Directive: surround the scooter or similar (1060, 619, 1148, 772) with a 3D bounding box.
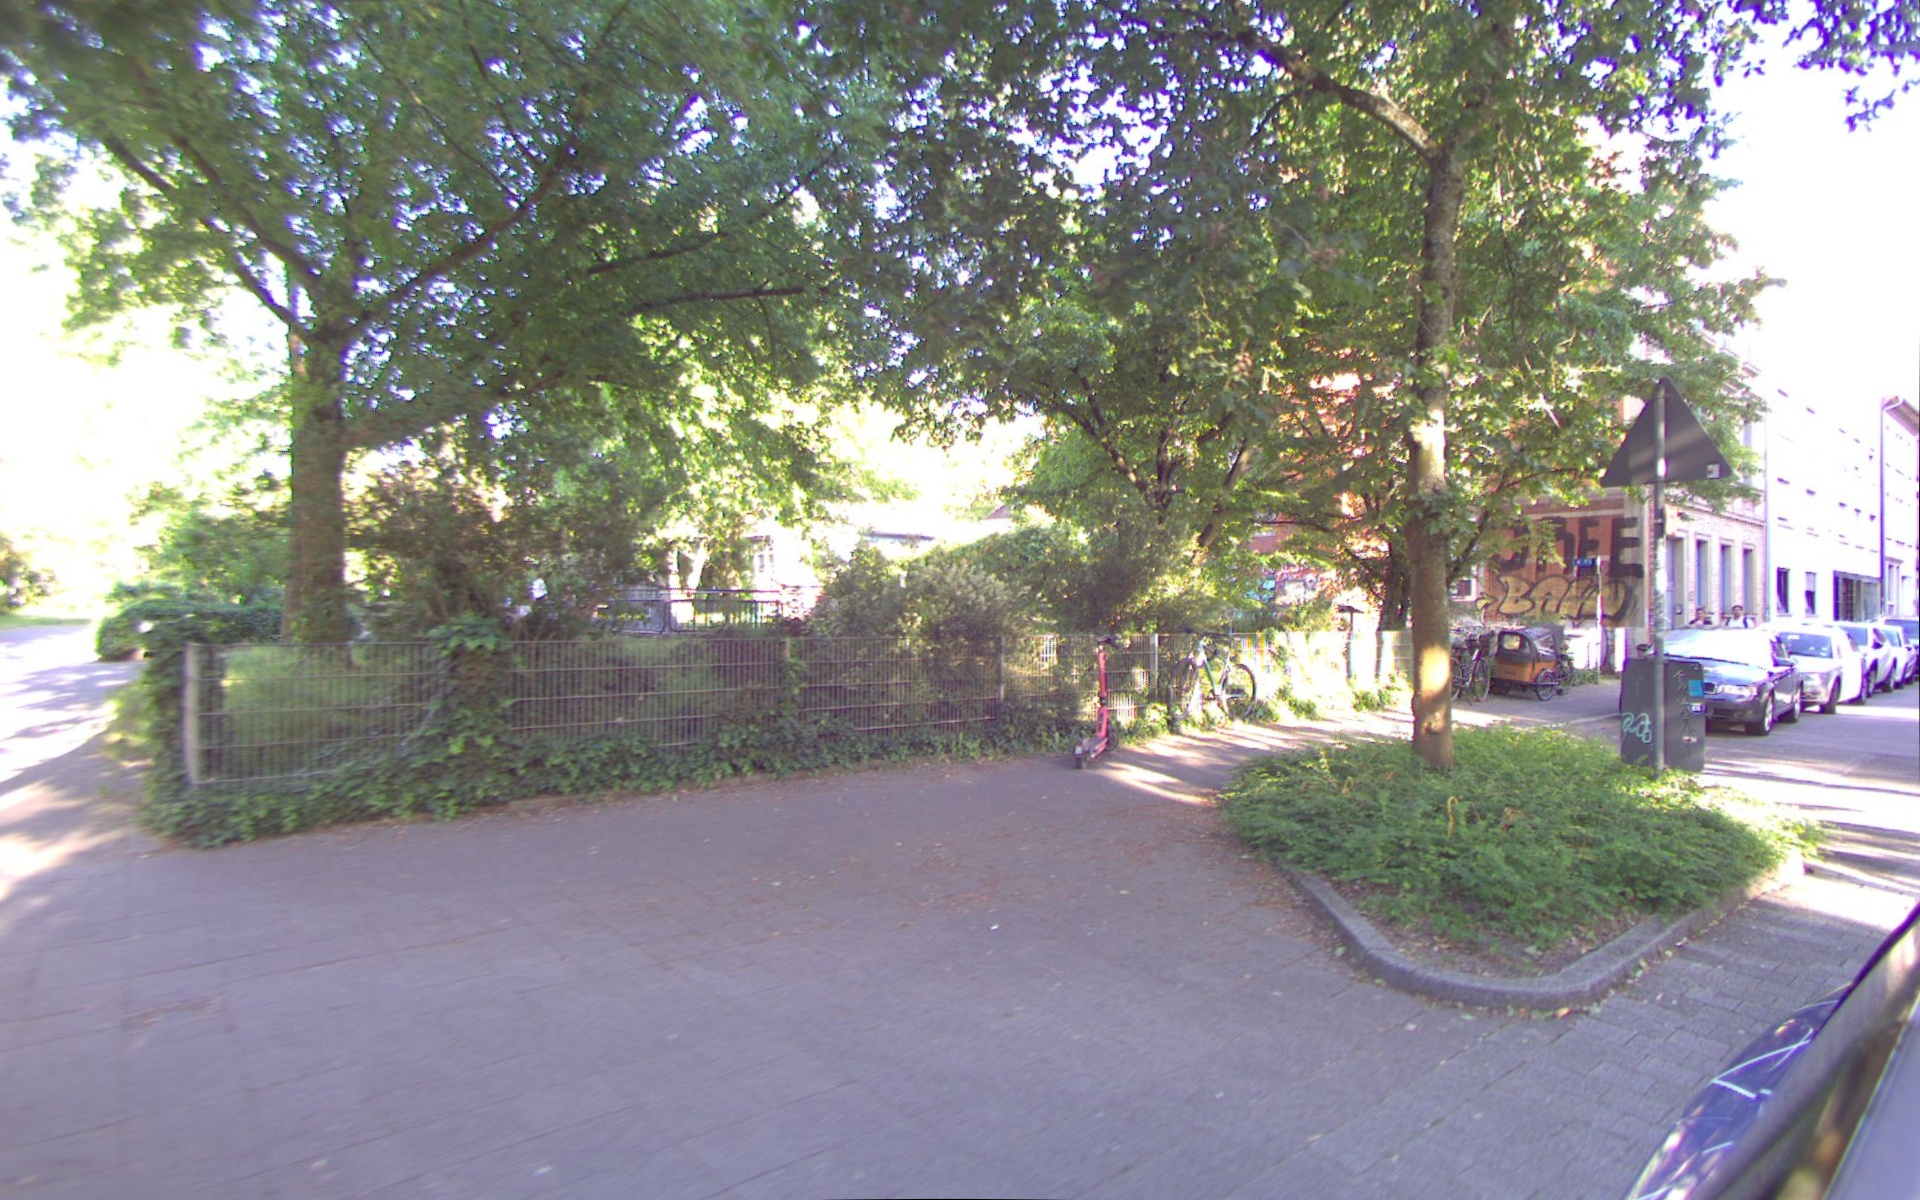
[{"bbox_3d":[1.394,0.846,9.607,0.539,1.277,1.464,1,1,19],"label":"scooter or similar"}]

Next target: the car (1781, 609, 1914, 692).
[{"bbox_3d":[19.185,1.023,21.823,3.697,1.605,1.597,1,1,-40],"label":"car"}]

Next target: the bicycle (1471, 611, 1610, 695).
[{"bbox_3d":[10.213,0.884,17.777,2.283,1.318,1.295,1,2,-37],"label":"bicycle"}]

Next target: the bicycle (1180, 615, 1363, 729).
[{"bbox_3d":[3.977,0.853,12.777,2.642,1.284,0.849,1,-1,-38],"label":"bicycle"}]

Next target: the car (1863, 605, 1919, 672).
[{"bbox_3d":[26.168,1.023,27.473,4.249,1.688,1.770,1,0,-38],"label":"car"}]

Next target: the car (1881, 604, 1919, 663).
[{"bbox_3d":[29.870,1.011,30.961,4.251,1.687,1.886,0,3,-40],"label":"car"}]

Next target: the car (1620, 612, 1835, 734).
[{"bbox_3d":[11.651,0.974,15.250,4.336,1.512,1.724,1,1,-41],"label":"car"}]

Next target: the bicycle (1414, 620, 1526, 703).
[{"bbox_3d":[8.163,0.951,16.181,1.945,1.216,0.849,1,-1,-38],"label":"bicycle"}]

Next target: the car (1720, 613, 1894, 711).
[{"bbox_3d":[15.479,1.026,18.414,4.275,1.512,1.663,1,1,-40],"label":"car"}]

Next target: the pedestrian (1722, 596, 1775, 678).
[{"bbox_3d":[17.406,0.806,22.340,0.739,1.730,0.712,1,2,-40],"label":"pedestrian"}]

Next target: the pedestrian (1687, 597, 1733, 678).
[{"bbox_3d":[16.846,0.829,22.733,0.694,1.730,0.599,1,2,-40],"label":"pedestrian"}]

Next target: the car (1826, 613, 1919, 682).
[{"bbox_3d":[22.424,1.083,24.577,3.934,1.469,1.596,1,1,-42],"label":"car"}]

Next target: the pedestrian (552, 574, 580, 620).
[{"bbox_3d":[-17.593,-0.131,45.170,0.896,2.039,0.748,1,0,7],"label":"pedestrian"}]

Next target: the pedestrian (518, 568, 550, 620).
[{"bbox_3d":[-16.983,-0.255,40.353,0.896,2.039,0.748,1,0,7],"label":"pedestrian"}]

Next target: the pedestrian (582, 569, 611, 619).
[{"bbox_3d":[-15.082,-0.236,41.986,0.896,2.039,0.748,1,0,7],"label":"pedestrian"}]
